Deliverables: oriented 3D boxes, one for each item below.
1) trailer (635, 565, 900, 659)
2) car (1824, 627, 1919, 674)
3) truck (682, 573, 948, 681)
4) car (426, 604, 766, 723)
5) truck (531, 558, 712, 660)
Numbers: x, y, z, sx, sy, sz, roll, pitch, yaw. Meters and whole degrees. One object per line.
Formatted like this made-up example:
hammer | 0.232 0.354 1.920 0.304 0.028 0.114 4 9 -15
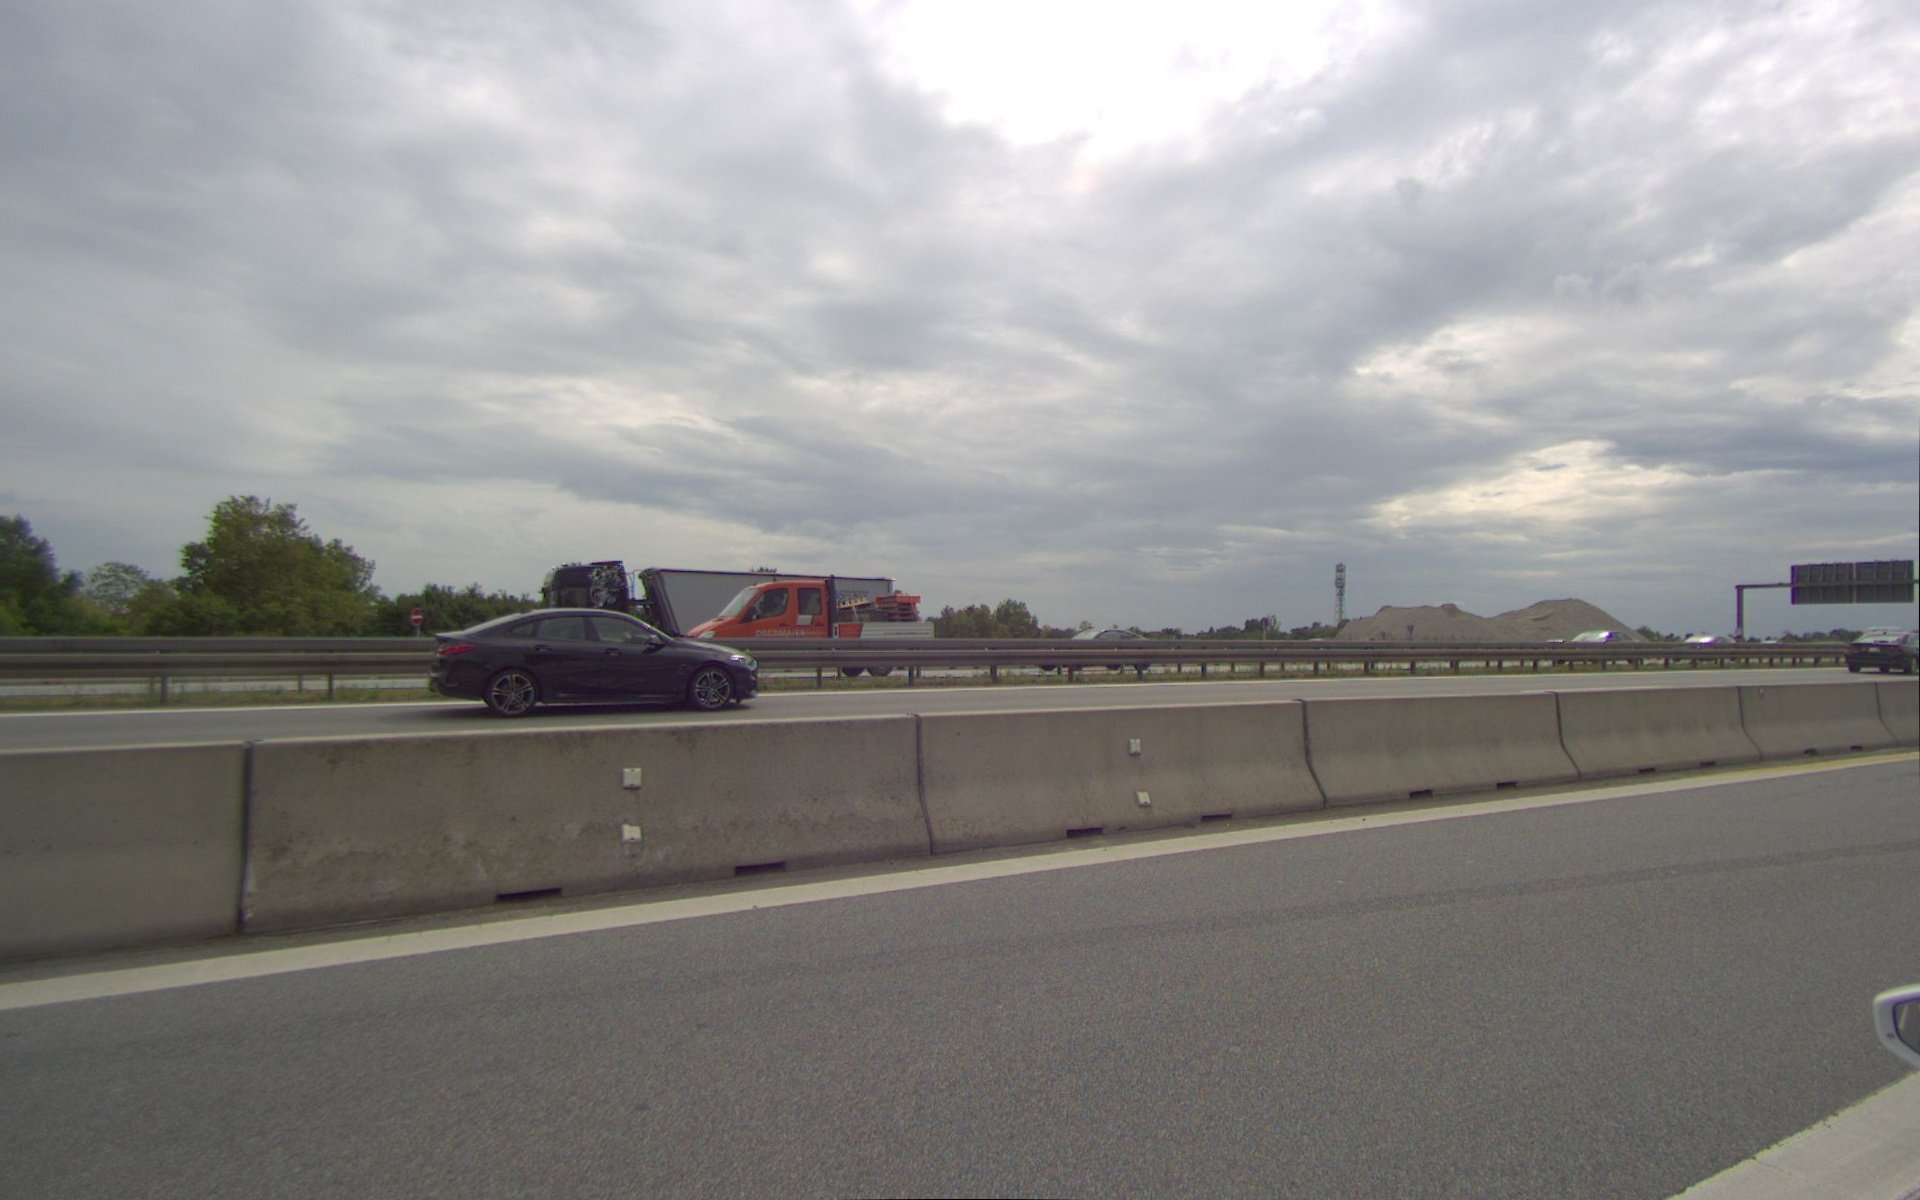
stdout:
trailer | -7.356 0.528 39.248 9.717 3.313 3.179 1 -1 -33
car | 33.171 1.777 35.949 4.514 1.547 2.049 1 -1 -30
truck | -3.511 0.683 24.829 6.127 2.401 2.266 1 -1 -30
car | -5.157 0.845 14.391 4.332 1.469 1.764 1 -1 -30
truck | -12.154 0.355 36.130 5.561 3.374 3.132 1 -1 -33
